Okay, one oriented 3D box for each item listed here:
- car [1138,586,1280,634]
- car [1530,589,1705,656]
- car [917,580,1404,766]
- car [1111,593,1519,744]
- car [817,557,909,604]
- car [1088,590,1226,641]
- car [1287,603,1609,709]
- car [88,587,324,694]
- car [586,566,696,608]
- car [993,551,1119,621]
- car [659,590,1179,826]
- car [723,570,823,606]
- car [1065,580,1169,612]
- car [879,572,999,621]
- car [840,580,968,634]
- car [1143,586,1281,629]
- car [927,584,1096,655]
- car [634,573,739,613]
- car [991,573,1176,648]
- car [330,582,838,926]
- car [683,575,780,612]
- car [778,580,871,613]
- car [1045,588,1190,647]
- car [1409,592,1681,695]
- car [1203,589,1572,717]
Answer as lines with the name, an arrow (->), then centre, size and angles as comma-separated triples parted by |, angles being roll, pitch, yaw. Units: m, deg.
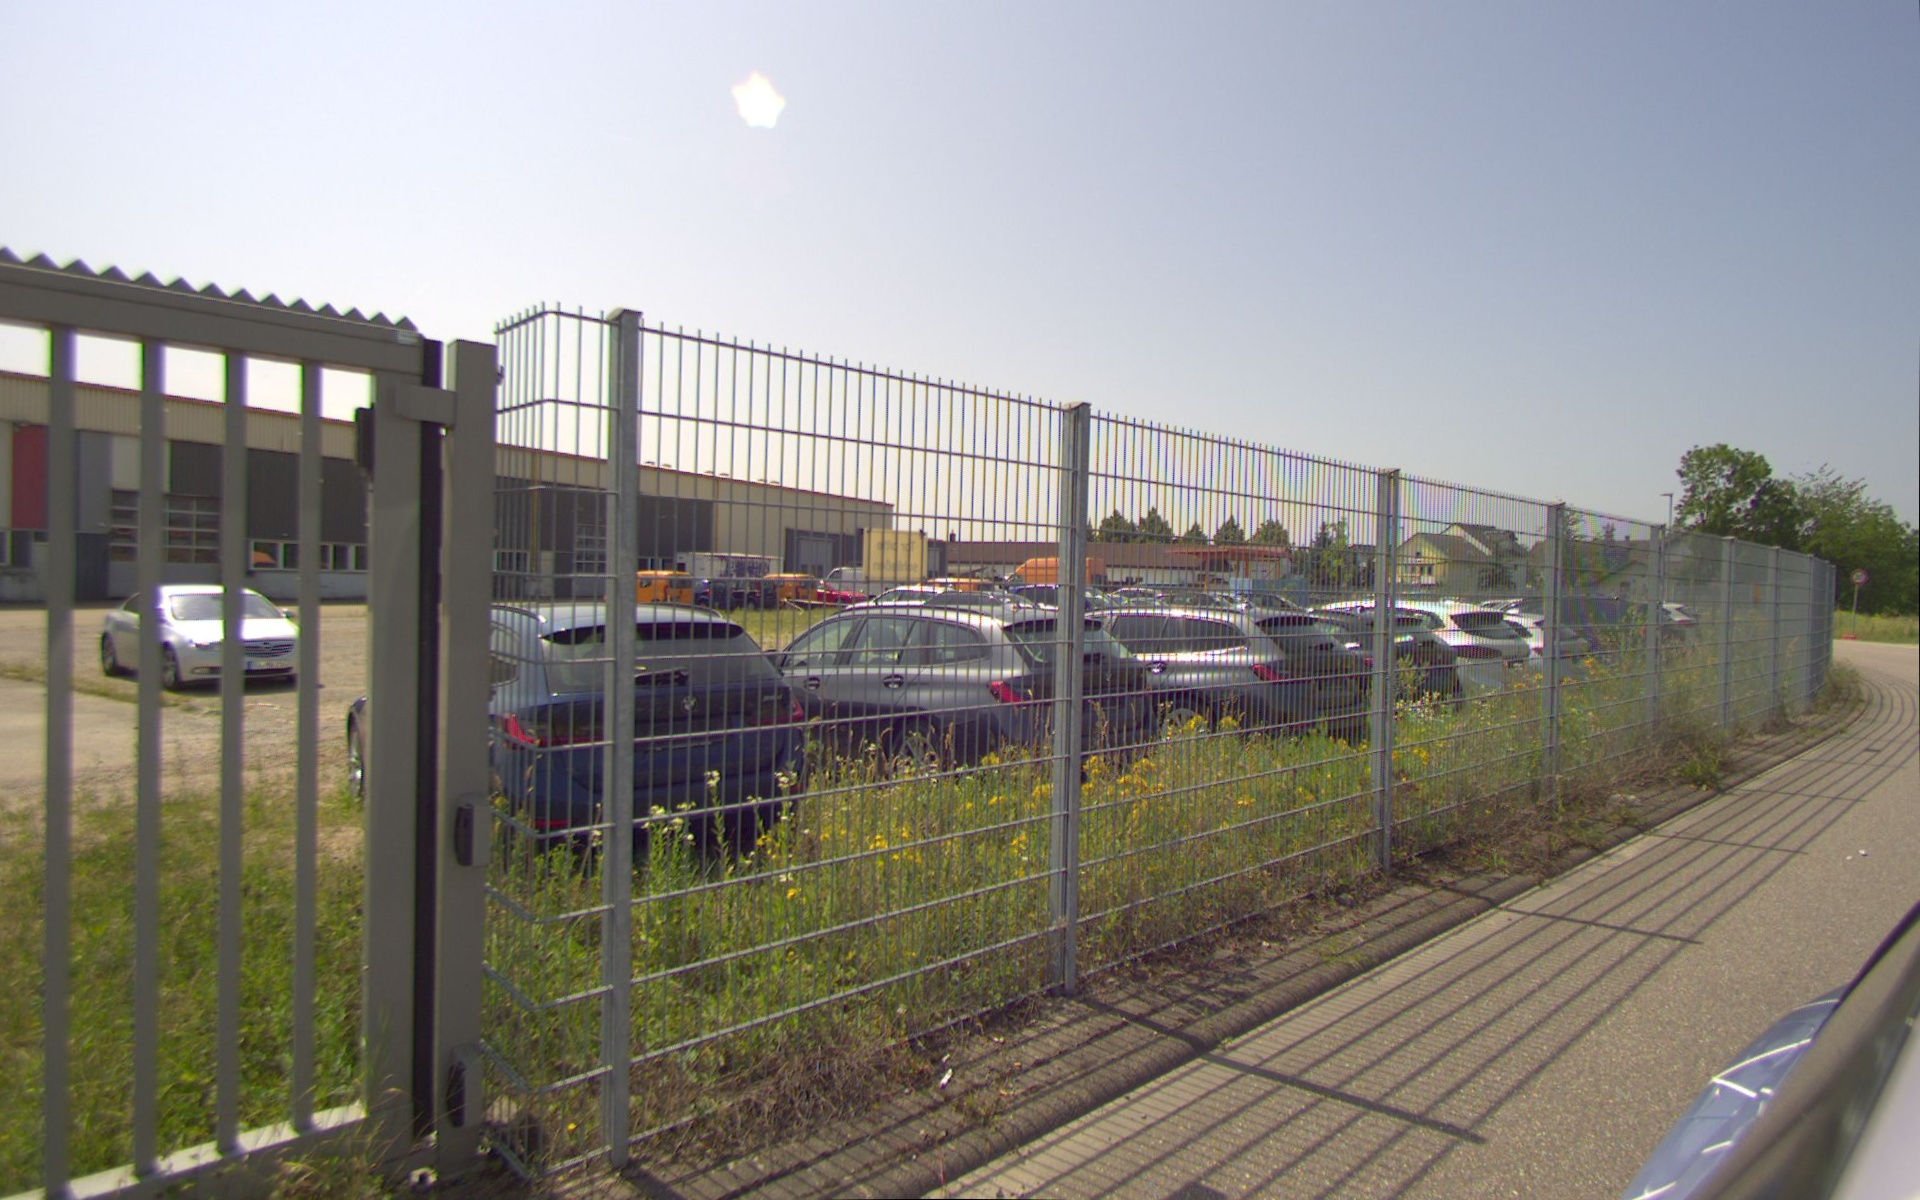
car -> 8.721, 0.323, 35.541 | 4.545, 1.450, 1.642 | 3, 1, 34
car -> 18.975, 0.600, 29.420 | 4.104, 1.690, 1.703 | 3, 1, 32
car -> 1.738, 0.631, 10.033 | 1.808, 1.424, 4.512 | 0, -2, -43
car -> 3.929, 0.691, 11.867 | 1.805, 1.424, 4.221 | 0, -1, -37
car -> -4.956, -0.990, 51.593 | 4.355, 2.199, 1.952 | 3, 1, 31
car -> 5.925, 0.434, 30.508 | 3.747, 1.318, 1.592 | 3, 1, 34
car -> 7.541, 0.806, 16.009 | 1.805, 1.424, 4.221 | 0, -1, -37
car -> -11.772, 0.527, 15.703 | 4.494, 1.368, 1.606 | 2, 1, 35
car -> -12.682, -0.518, 40.145 | 4.355, 1.504, 1.733 | 3, 1, 31
car -> 3.867, -0.603, 41.161 | 4.714, 2.617, 1.956 | 3, 1, 34
car -> -0.598, 0.695, 8.279 | 4.509, 1.424, 1.612 | -2, -1, 45
car -> -8.725, -0.562, 47.078 | 4.355, 1.504, 1.952 | 3, 1, 31
car -> 7.141, -0.187, 46.189 | 4.360, 1.285, 1.799 | 3, 1, 34
car -> -0.738, -0.134, 34.187 | 3.803, 1.480, 1.570 | 3, 1, 34
car -> -1.787, 0.190, 31.607 | 3.803, 1.480, 1.570 | 3, 1, 34
car -> 9.478, 0.245, 38.170 | 4.727, 1.368, 1.799 | 3, 1, 34
car -> 1.210, 0.419, 24.232 | 3.747, 1.455, 1.592 | 3, 1, 34
car -> -11.544, -0.300, 42.625 | 4.355, 1.504, 1.733 | 3, 1, 31
car -> 3.152, 0.223, 26.304 | 4.453, 1.669, 1.852 | 3, 1, 38
car -> -2.734, 0.679, 6.528 | 1.736, 1.424, 4.518 | 0, -1, -39
car -> -10.144, -0.318, 44.869 | 3.970, 1.482, 1.977 | 2, 1, 33
car -> -6.595, -0.169, 49.034 | 4.360, 1.395, 1.820 | 3, 1, 34
car -> 4.478, 0.464, 28.960 | 3.747, 1.455, 1.592 | 3, 1, 34
car -> 11.335, 0.760, 19.818 | 1.735, 1.657, 4.285 | 1, 1, -44
car -> 5.534, 0.630, 13.596 | 1.805, 1.424, 4.221 | 0, -1, -37
